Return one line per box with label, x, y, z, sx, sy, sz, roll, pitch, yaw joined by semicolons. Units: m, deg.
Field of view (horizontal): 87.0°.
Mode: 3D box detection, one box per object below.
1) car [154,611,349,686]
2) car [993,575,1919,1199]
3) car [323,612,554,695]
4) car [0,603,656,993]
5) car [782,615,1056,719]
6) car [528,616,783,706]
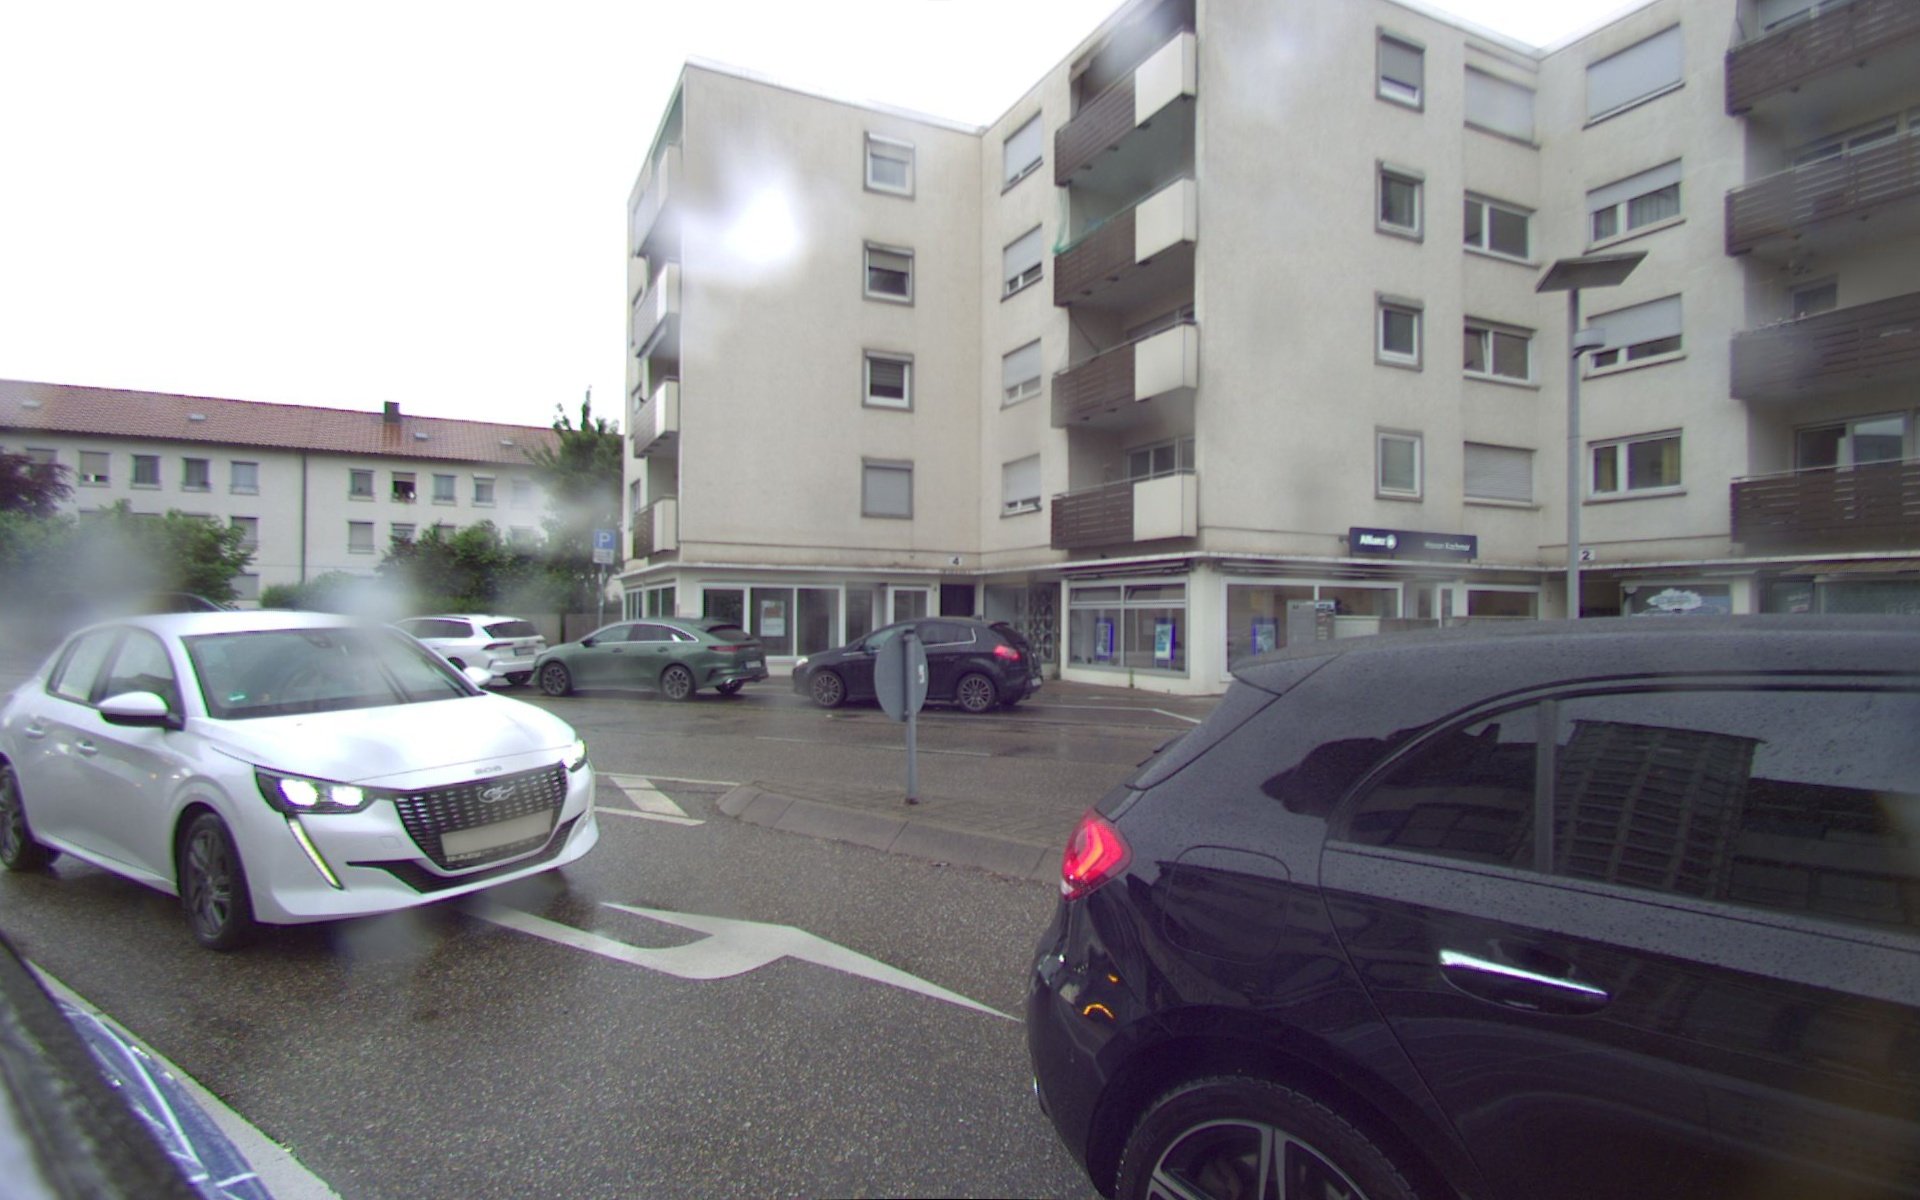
car;-15.648;1.033;22.380;3.852;1.517;1.623;0;-1;20
car;2.169;0.690;1.314;4.090;1.492;1.646;-2;-1;40
car;-10.452;1.022;20.303;4.313;1.511;1.627;0;-1;20
car;-3.679;0.764;5.526;3.882;1.420;1.726;-1;0;32
car;-0.655;1.021;16.638;4.156;1.471;1.825;0;0;20
car;-5.549;1.043;18.526;4.241;1.445;1.826;0;0;19
